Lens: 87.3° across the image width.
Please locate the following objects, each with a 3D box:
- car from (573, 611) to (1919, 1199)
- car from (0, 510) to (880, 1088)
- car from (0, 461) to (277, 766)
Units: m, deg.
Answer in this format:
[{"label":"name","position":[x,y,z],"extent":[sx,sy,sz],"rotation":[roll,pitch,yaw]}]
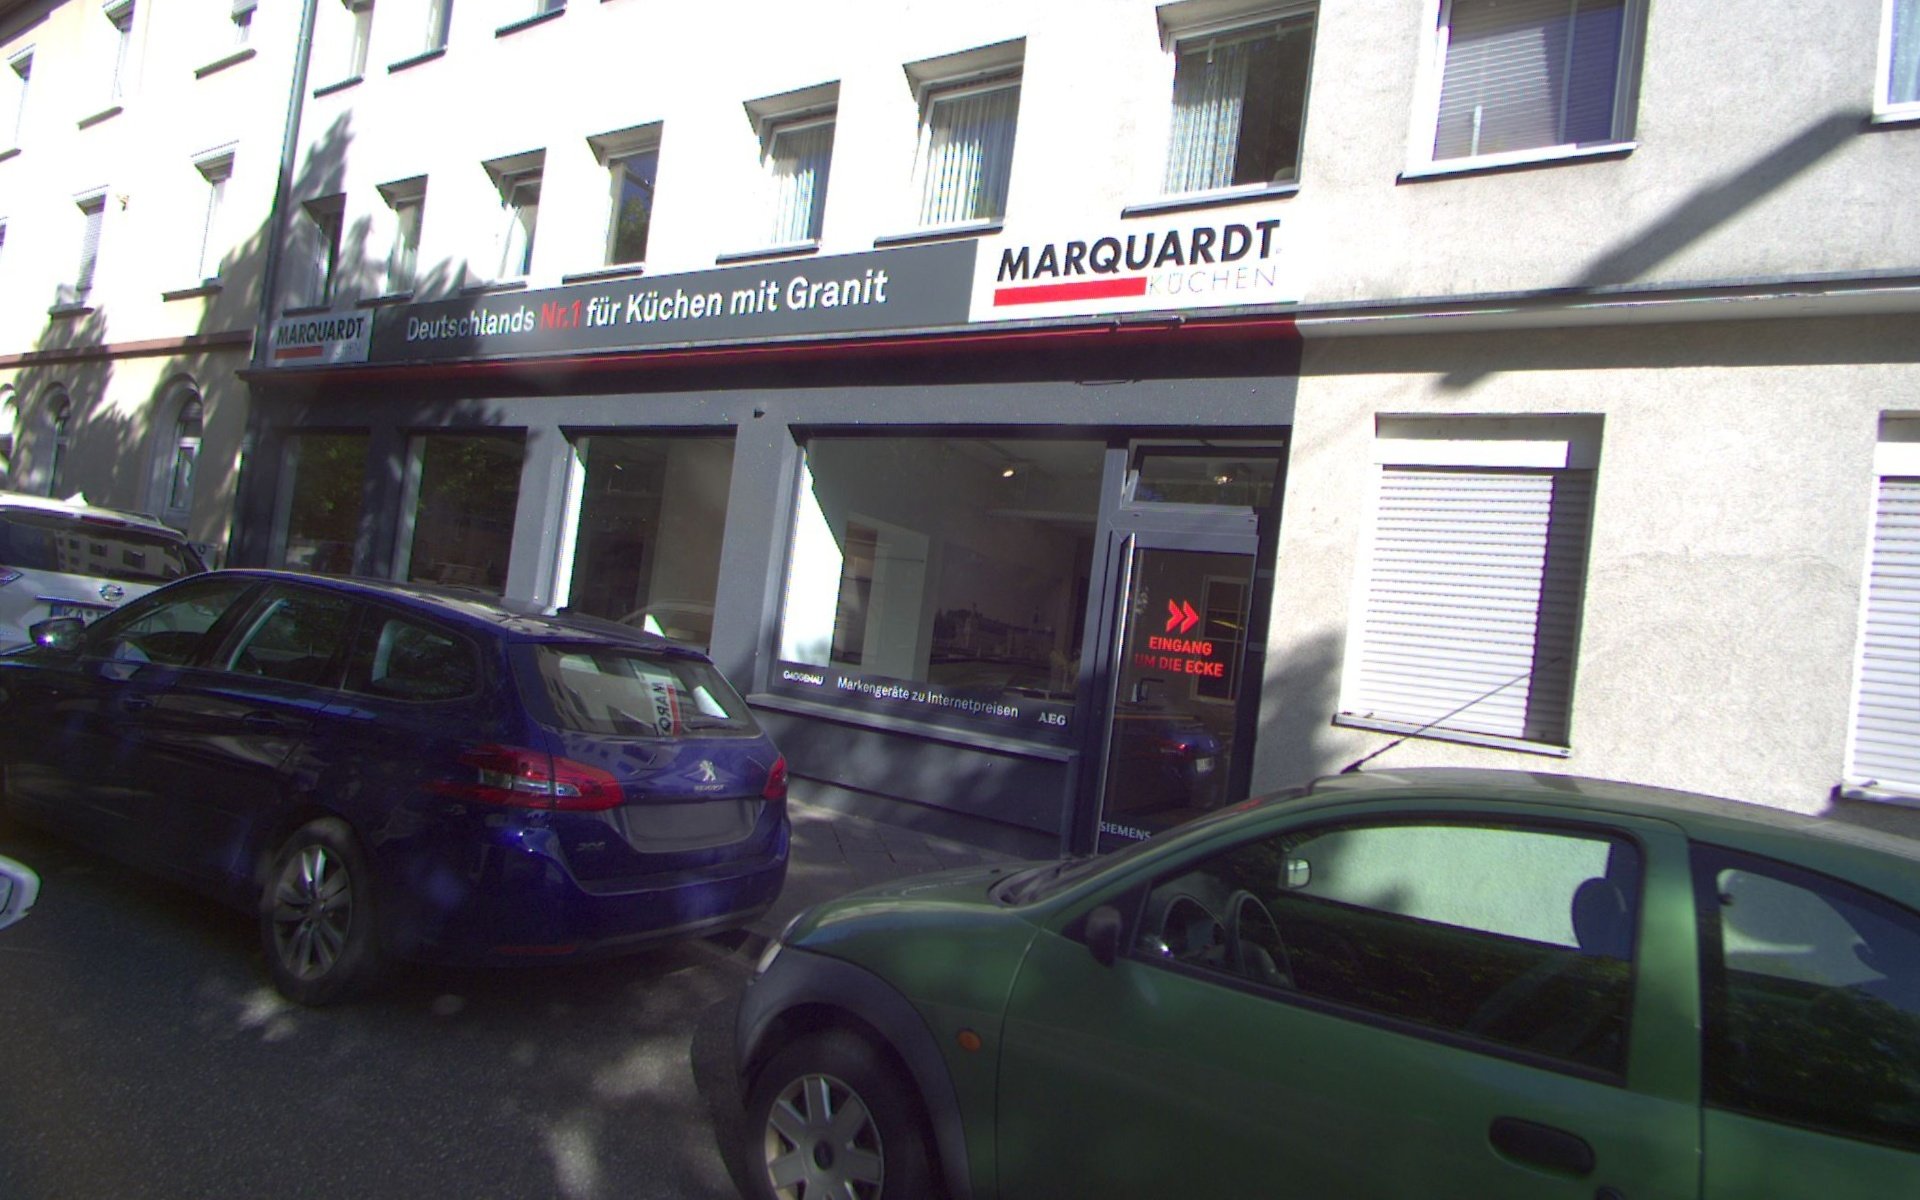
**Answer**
[{"label":"car","position":[0.953,1.014,2.522],"extent":[3.612,1.479,1.600],"rotation":[6,-3,32]},{"label":"car","position":[-2.781,0.567,4.727],"extent":[4.362,1.479,1.808],"rotation":[6,-3,27]},{"label":"car","position":[-7.277,-0.056,7.411],"extent":[4.433,1.773,1.767],"rotation":[6,-3,29]}]
